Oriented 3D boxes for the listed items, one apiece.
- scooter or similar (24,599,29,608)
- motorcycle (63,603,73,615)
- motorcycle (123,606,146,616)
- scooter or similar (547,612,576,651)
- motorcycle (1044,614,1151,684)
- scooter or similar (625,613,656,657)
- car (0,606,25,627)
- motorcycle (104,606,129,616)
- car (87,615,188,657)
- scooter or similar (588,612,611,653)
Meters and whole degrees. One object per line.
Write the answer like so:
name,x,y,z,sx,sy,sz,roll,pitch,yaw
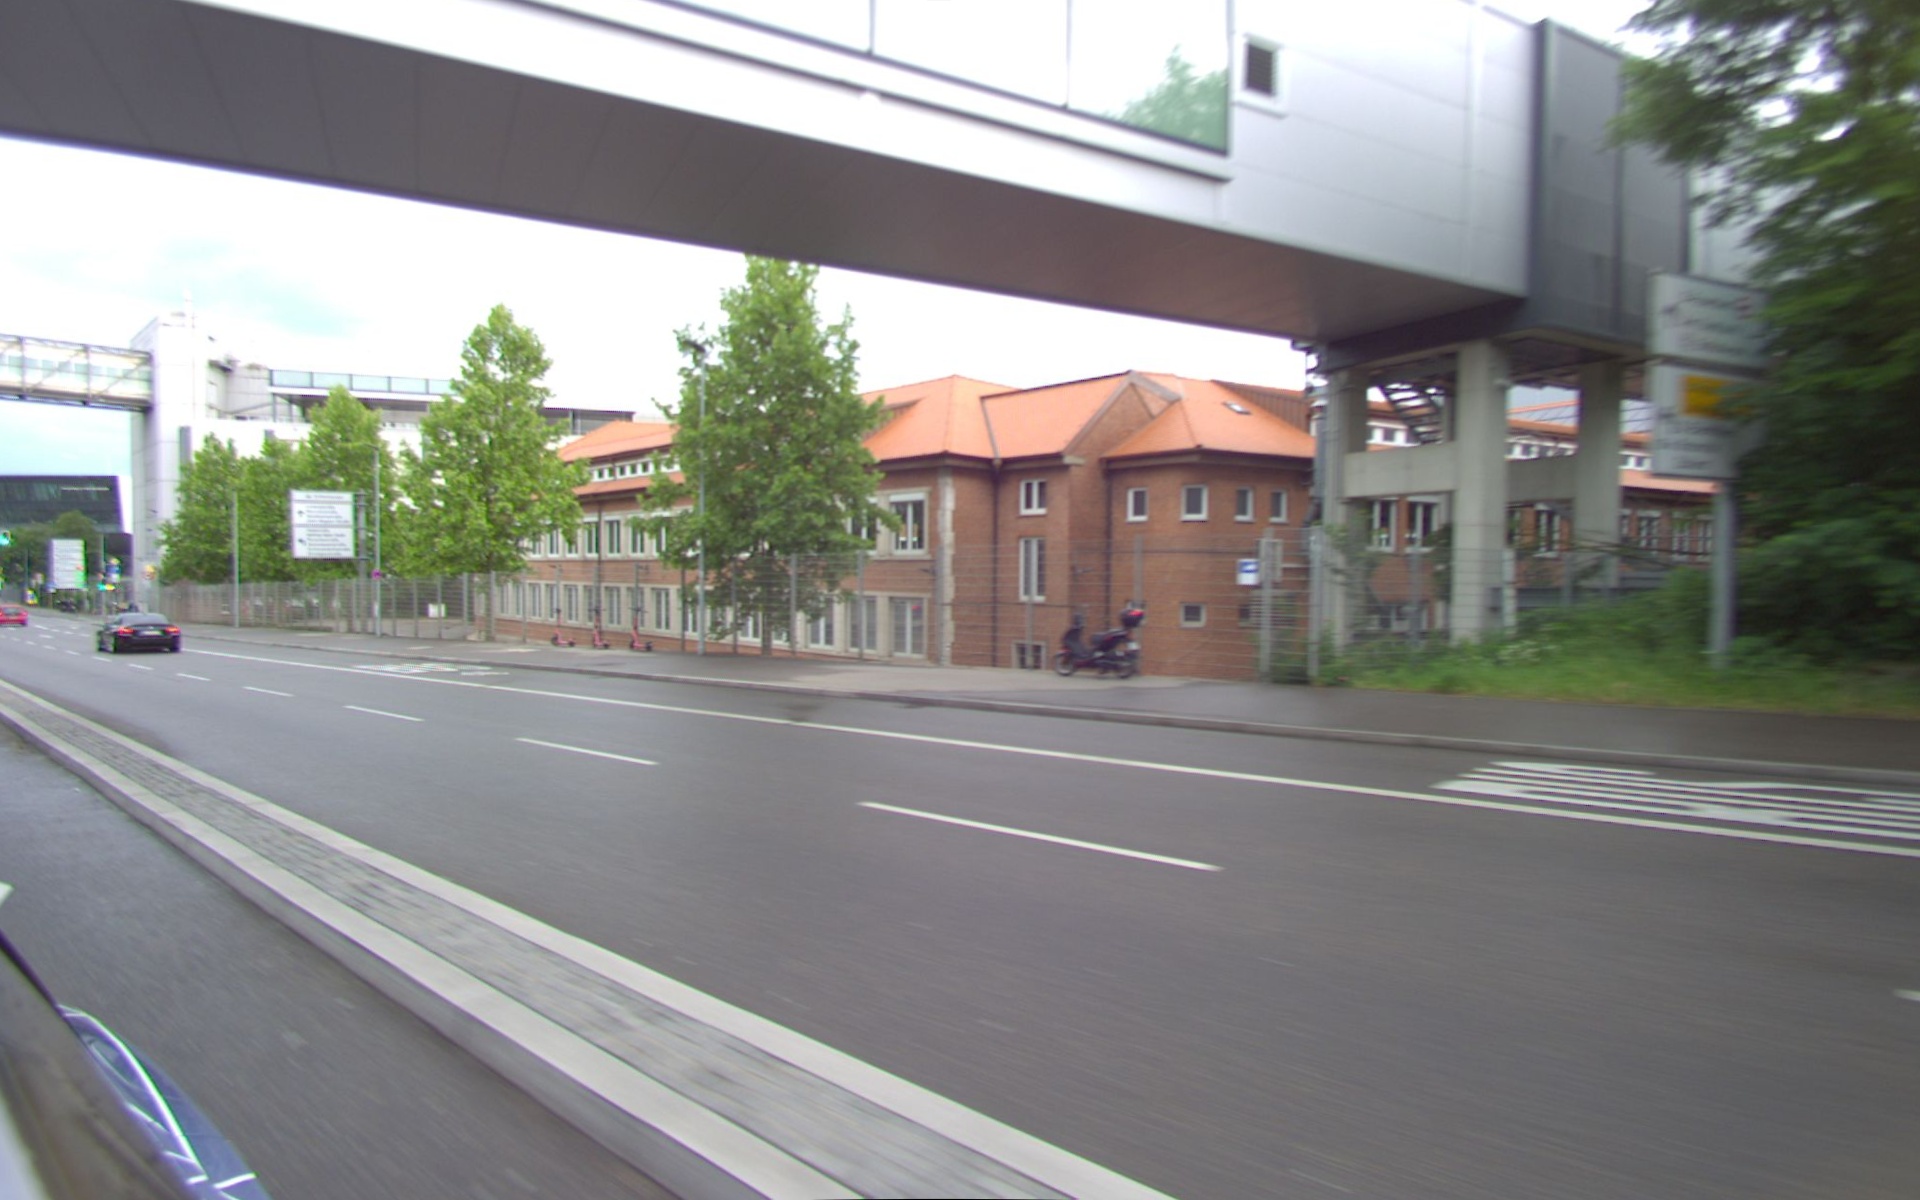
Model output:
scooter or similar,-119.190,0.482,129.262,1.569,1.138,0.389,1,0,44
motorcycle,-93.407,0.920,105.946,2.038,1.171,0.561,1,0,42
motorcycle,-81.438,1.077,99.823,2.151,1.035,0.623,1,0,16
scooter or similar,-12.814,0.995,32.537,1.308,1.227,0.308,-1,0,43
motorcycle,2.463,0.862,18.343,1.996,1.214,0.463,-1,-1,43
scooter or similar,-9.219,0.992,29.175,0.307,1.227,1.309,0,0,-42
car,-66.763,1.153,70.738,3.771,1.448,1.697,0,-1,42
motorcycle,-83.623,1.077,100.299,2.145,1.035,0.625,0,0,8
car,-29.252,1.231,35.957,4.755,1.372,2.042,-1,0,41
scooter or similar,-10.989,0.970,30.828,0.307,1.227,1.311,0,0,-35
